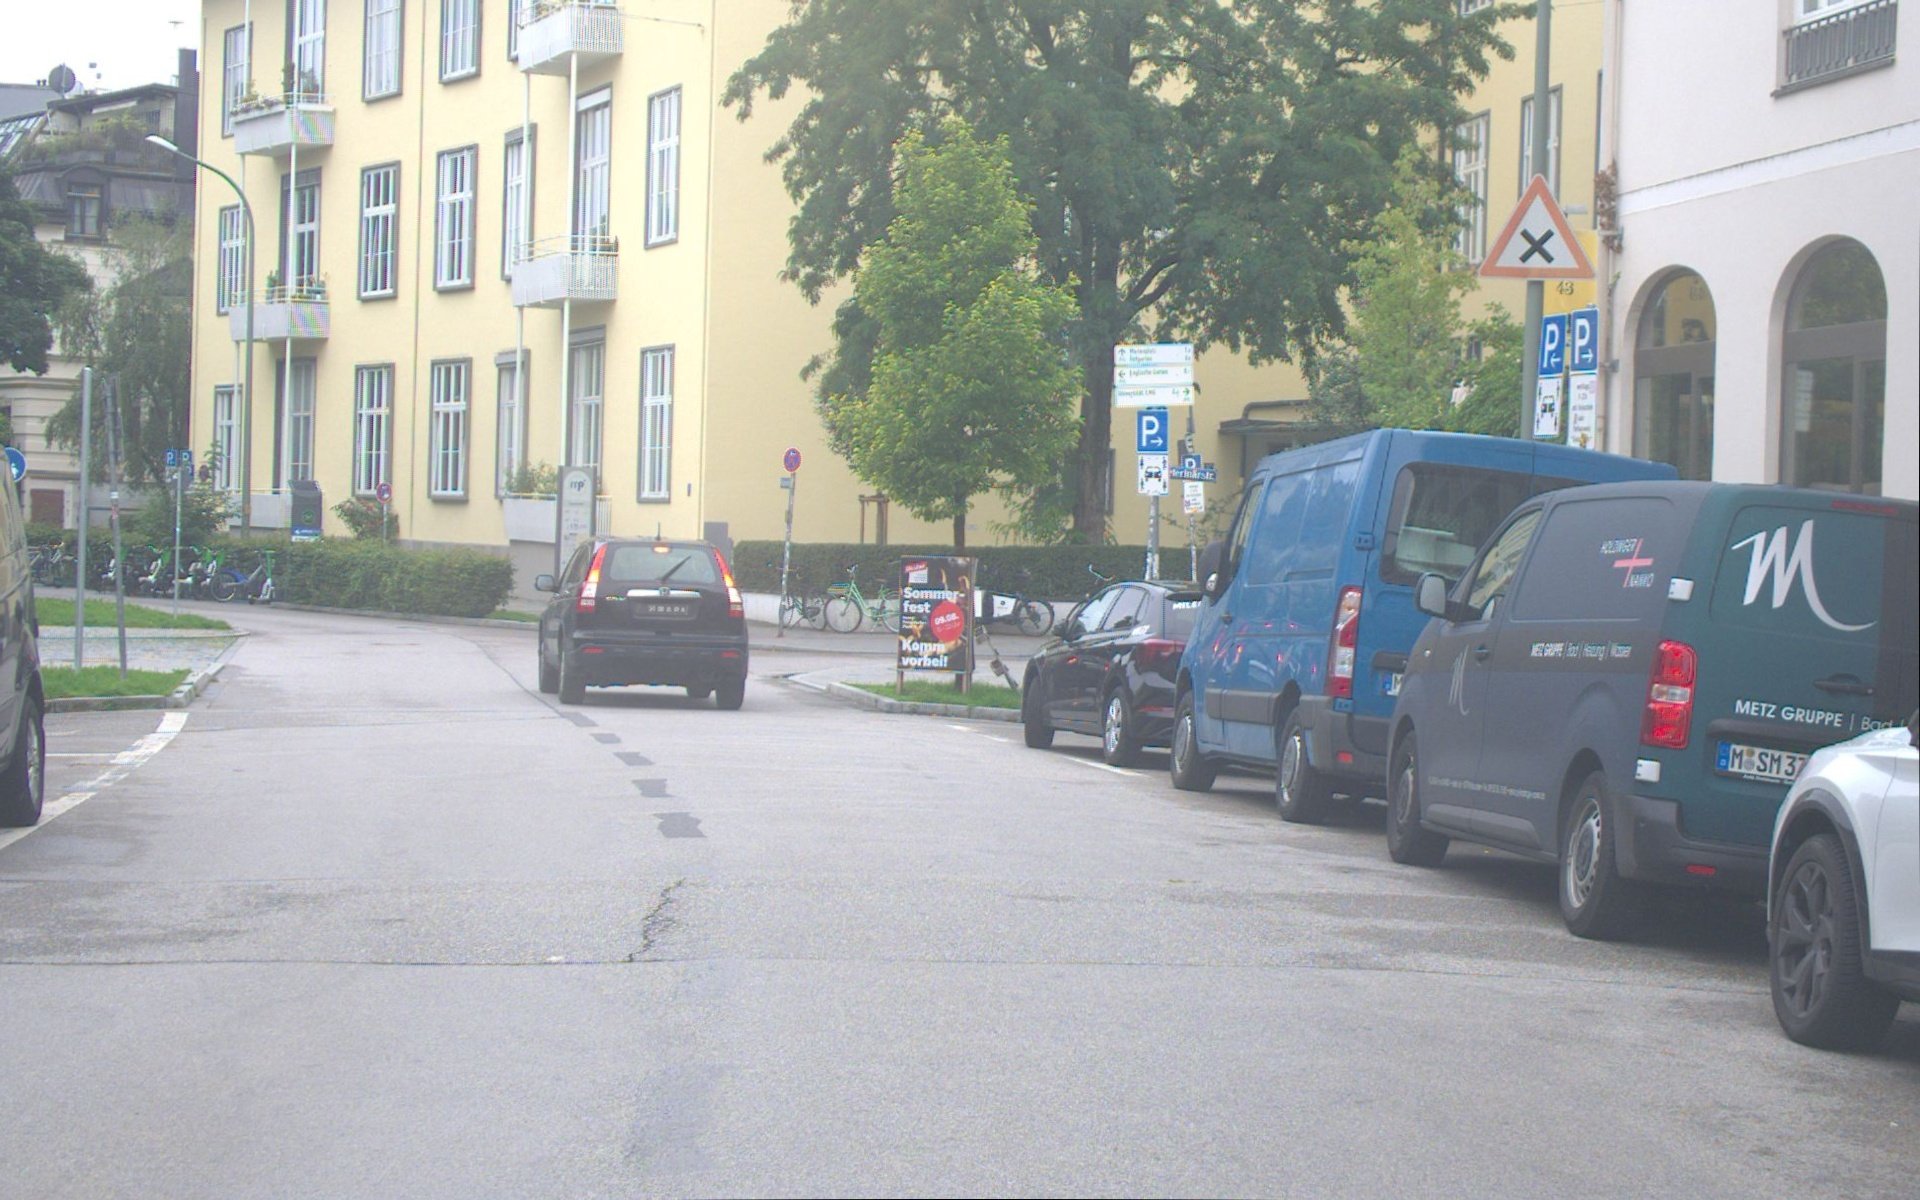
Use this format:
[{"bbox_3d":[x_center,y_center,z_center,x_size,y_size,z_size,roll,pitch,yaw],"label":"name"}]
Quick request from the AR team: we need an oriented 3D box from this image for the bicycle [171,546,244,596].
[{"bbox_3d":[-16.917,-0.663,77.293,0.576,1.082,1.931,1,2,24],"label":"bicycle"}]

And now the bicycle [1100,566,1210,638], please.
[{"bbox_3d":[3.265,0.036,57.670,1.734,1.146,0.610,2,1,-4],"label":"bicycle"}]

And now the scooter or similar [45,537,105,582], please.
[{"bbox_3d":[-21.775,-0.991,84.592,1.404,1.084,0.597,0,1,-15],"label":"scooter or similar"}]

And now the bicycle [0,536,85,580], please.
[{"bbox_3d":[-23.171,-1.050,86.116,2.332,1.082,0.692,0,2,-38],"label":"bicycle"}]

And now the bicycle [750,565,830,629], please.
[{"bbox_3d":[-3.014,-0.059,60.794,0.608,1.069,2.218,0,1,-25],"label":"bicycle"}]

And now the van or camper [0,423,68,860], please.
[{"bbox_3d":[-5.480,0.214,15.810,1.960,2.058,4.754,-1,1,-6],"label":"van or camper"}]

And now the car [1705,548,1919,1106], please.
[{"bbox_3d":[3.691,0.774,9.486,1.738,1.532,4.275,6,2,-7],"label":"car"}]

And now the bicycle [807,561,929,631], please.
[{"bbox_3d":[-1.577,-0.080,58.709,2.215,1.113,0.609,3,1,40],"label":"bicycle"}]

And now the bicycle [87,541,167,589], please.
[{"bbox_3d":[-19.141,-0.813,79.035,0.696,1.082,2.337,1,2,16],"label":"bicycle"}]

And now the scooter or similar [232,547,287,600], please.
[{"bbox_3d":[-15.067,-0.575,73.997,0.495,1.105,1.408,1,1,20],"label":"scooter or similar"}]

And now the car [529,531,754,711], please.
[{"bbox_3d":[-3.298,0.168,34.898,1.995,1.688,4.381,1,1,-9],"label":"car"}]

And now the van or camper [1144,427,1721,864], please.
[{"bbox_3d":[2.688,0.190,21.141,2.060,2.223,5.440,4,1,-7],"label":"van or camper"}]

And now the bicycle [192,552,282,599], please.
[{"bbox_3d":[-15.814,-0.531,75.211,1.823,1.002,0.577,0,2,-35],"label":"bicycle"}]

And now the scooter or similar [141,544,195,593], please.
[{"bbox_3d":[-17.992,-0.714,78.092,0.495,1.084,1.408,1,1,20],"label":"scooter or similar"}]

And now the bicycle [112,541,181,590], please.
[{"bbox_3d":[-18.538,-0.787,78.372,0.637,1.082,1.984,1,2,16],"label":"bicycle"}]

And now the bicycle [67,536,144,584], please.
[{"bbox_3d":[-20.053,-0.948,80.708,0.763,1.082,2.139,1,2,16],"label":"bicycle"}]

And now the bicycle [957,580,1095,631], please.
[{"bbox_3d":[1.106,0.094,57.526,2.211,0.776,0.610,2,1,12],"label":"bicycle"}]

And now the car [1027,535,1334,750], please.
[{"bbox_3d":[1.668,0.280,27.282,1.703,1.513,3.959,2,1,-7],"label":"car"}]

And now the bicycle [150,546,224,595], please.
[{"bbox_3d":[-17.482,-0.670,77.792,0.576,1.082,1.931,1,2,24],"label":"bicycle"}]

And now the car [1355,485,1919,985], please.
[{"bbox_3d":[3.288,0.483,15.372,1.964,1.810,4.937,4,1,-5],"label":"car"}]
